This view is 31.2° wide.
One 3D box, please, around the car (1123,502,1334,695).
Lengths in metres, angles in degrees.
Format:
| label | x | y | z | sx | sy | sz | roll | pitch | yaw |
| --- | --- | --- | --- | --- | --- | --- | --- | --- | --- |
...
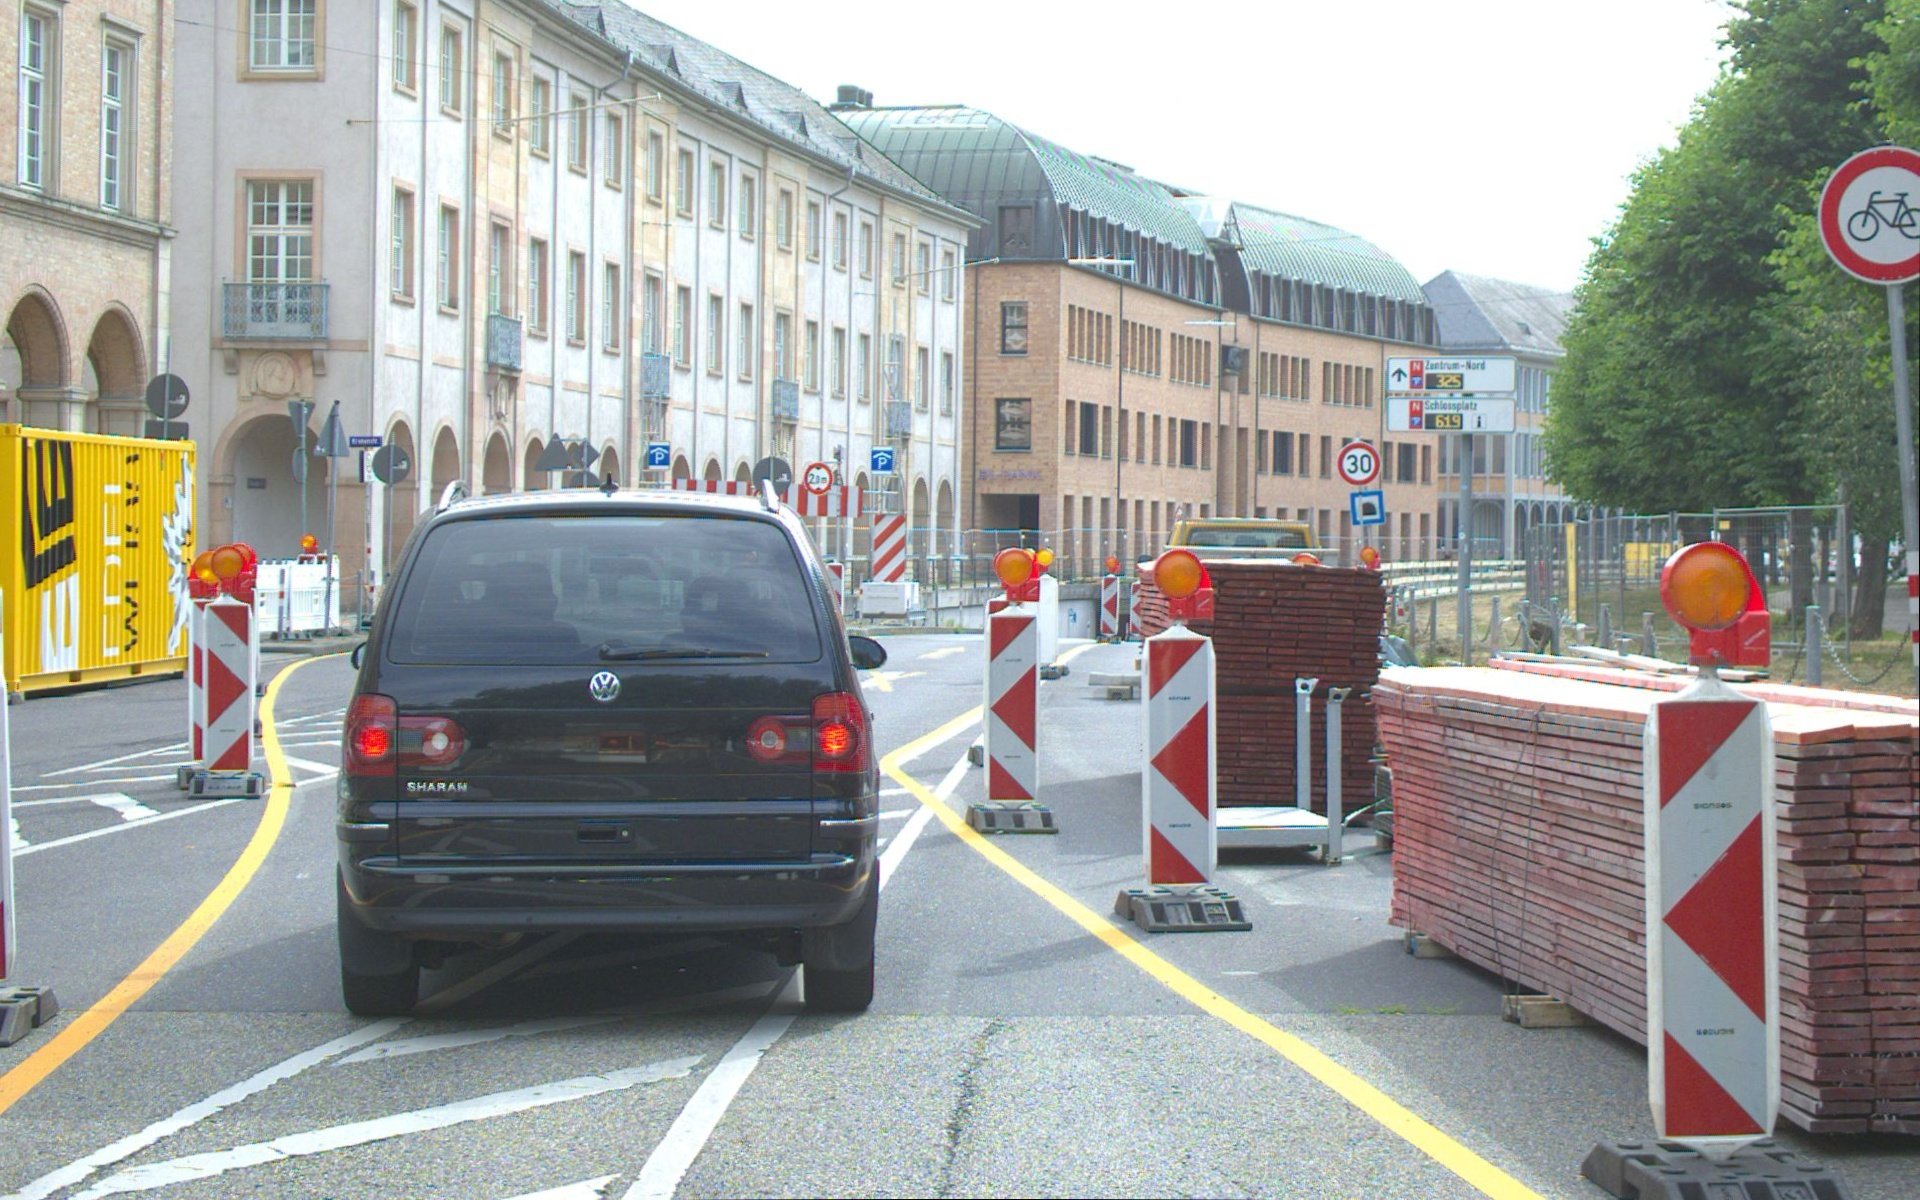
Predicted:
| label | x | y | z | sx | sy | sz | roll | pitch | yaw |
| --- | --- | --- | --- | --- | --- | --- | --- | --- | --- |
| car | 3.039 | -0.077 | 39.812 | 1.993 | 2.006 | 4.346 | 1 | 3 | -1 |

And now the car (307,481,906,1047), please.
| label | x | y | z | sx | sy | sz | roll | pitch | yaw |
| --- | --- | --- | --- | --- | --- | --- | --- | --- | --- |
| car | -1.238 | 0.459 | 12.456 | 1.793 | 1.702 | 4.132 | 0 | 1 | -5 |
